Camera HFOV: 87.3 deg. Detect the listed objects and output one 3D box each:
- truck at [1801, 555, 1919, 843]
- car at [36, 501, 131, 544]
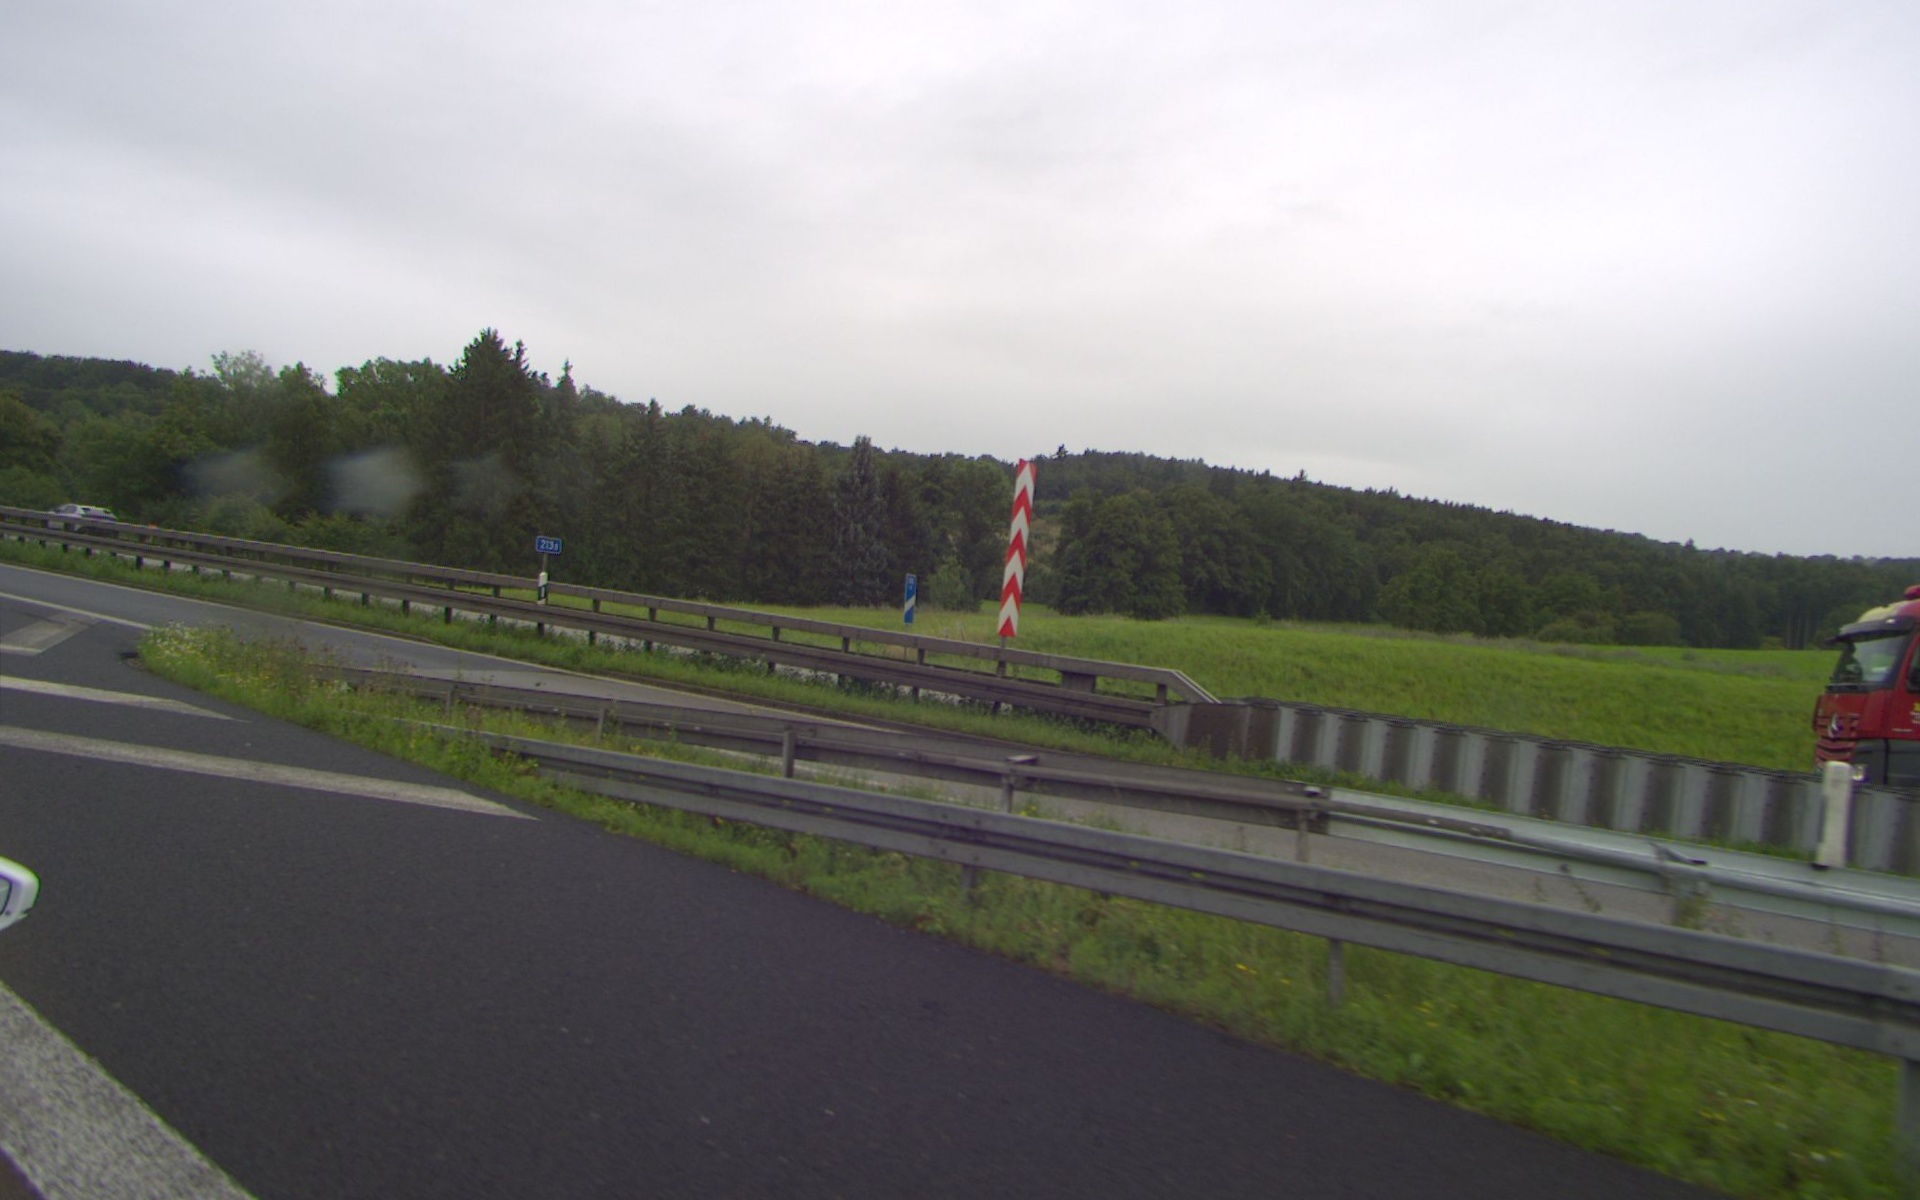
[{"bbox_3d":[16.307,1.778,14.349,5.823,4.032,2.516,7,-2,27],"label":"truck"},{"bbox_3d":[-43.712,-3.872,50.147,4.944,1.522,1.823,7,-1,28],"label":"car"}]
